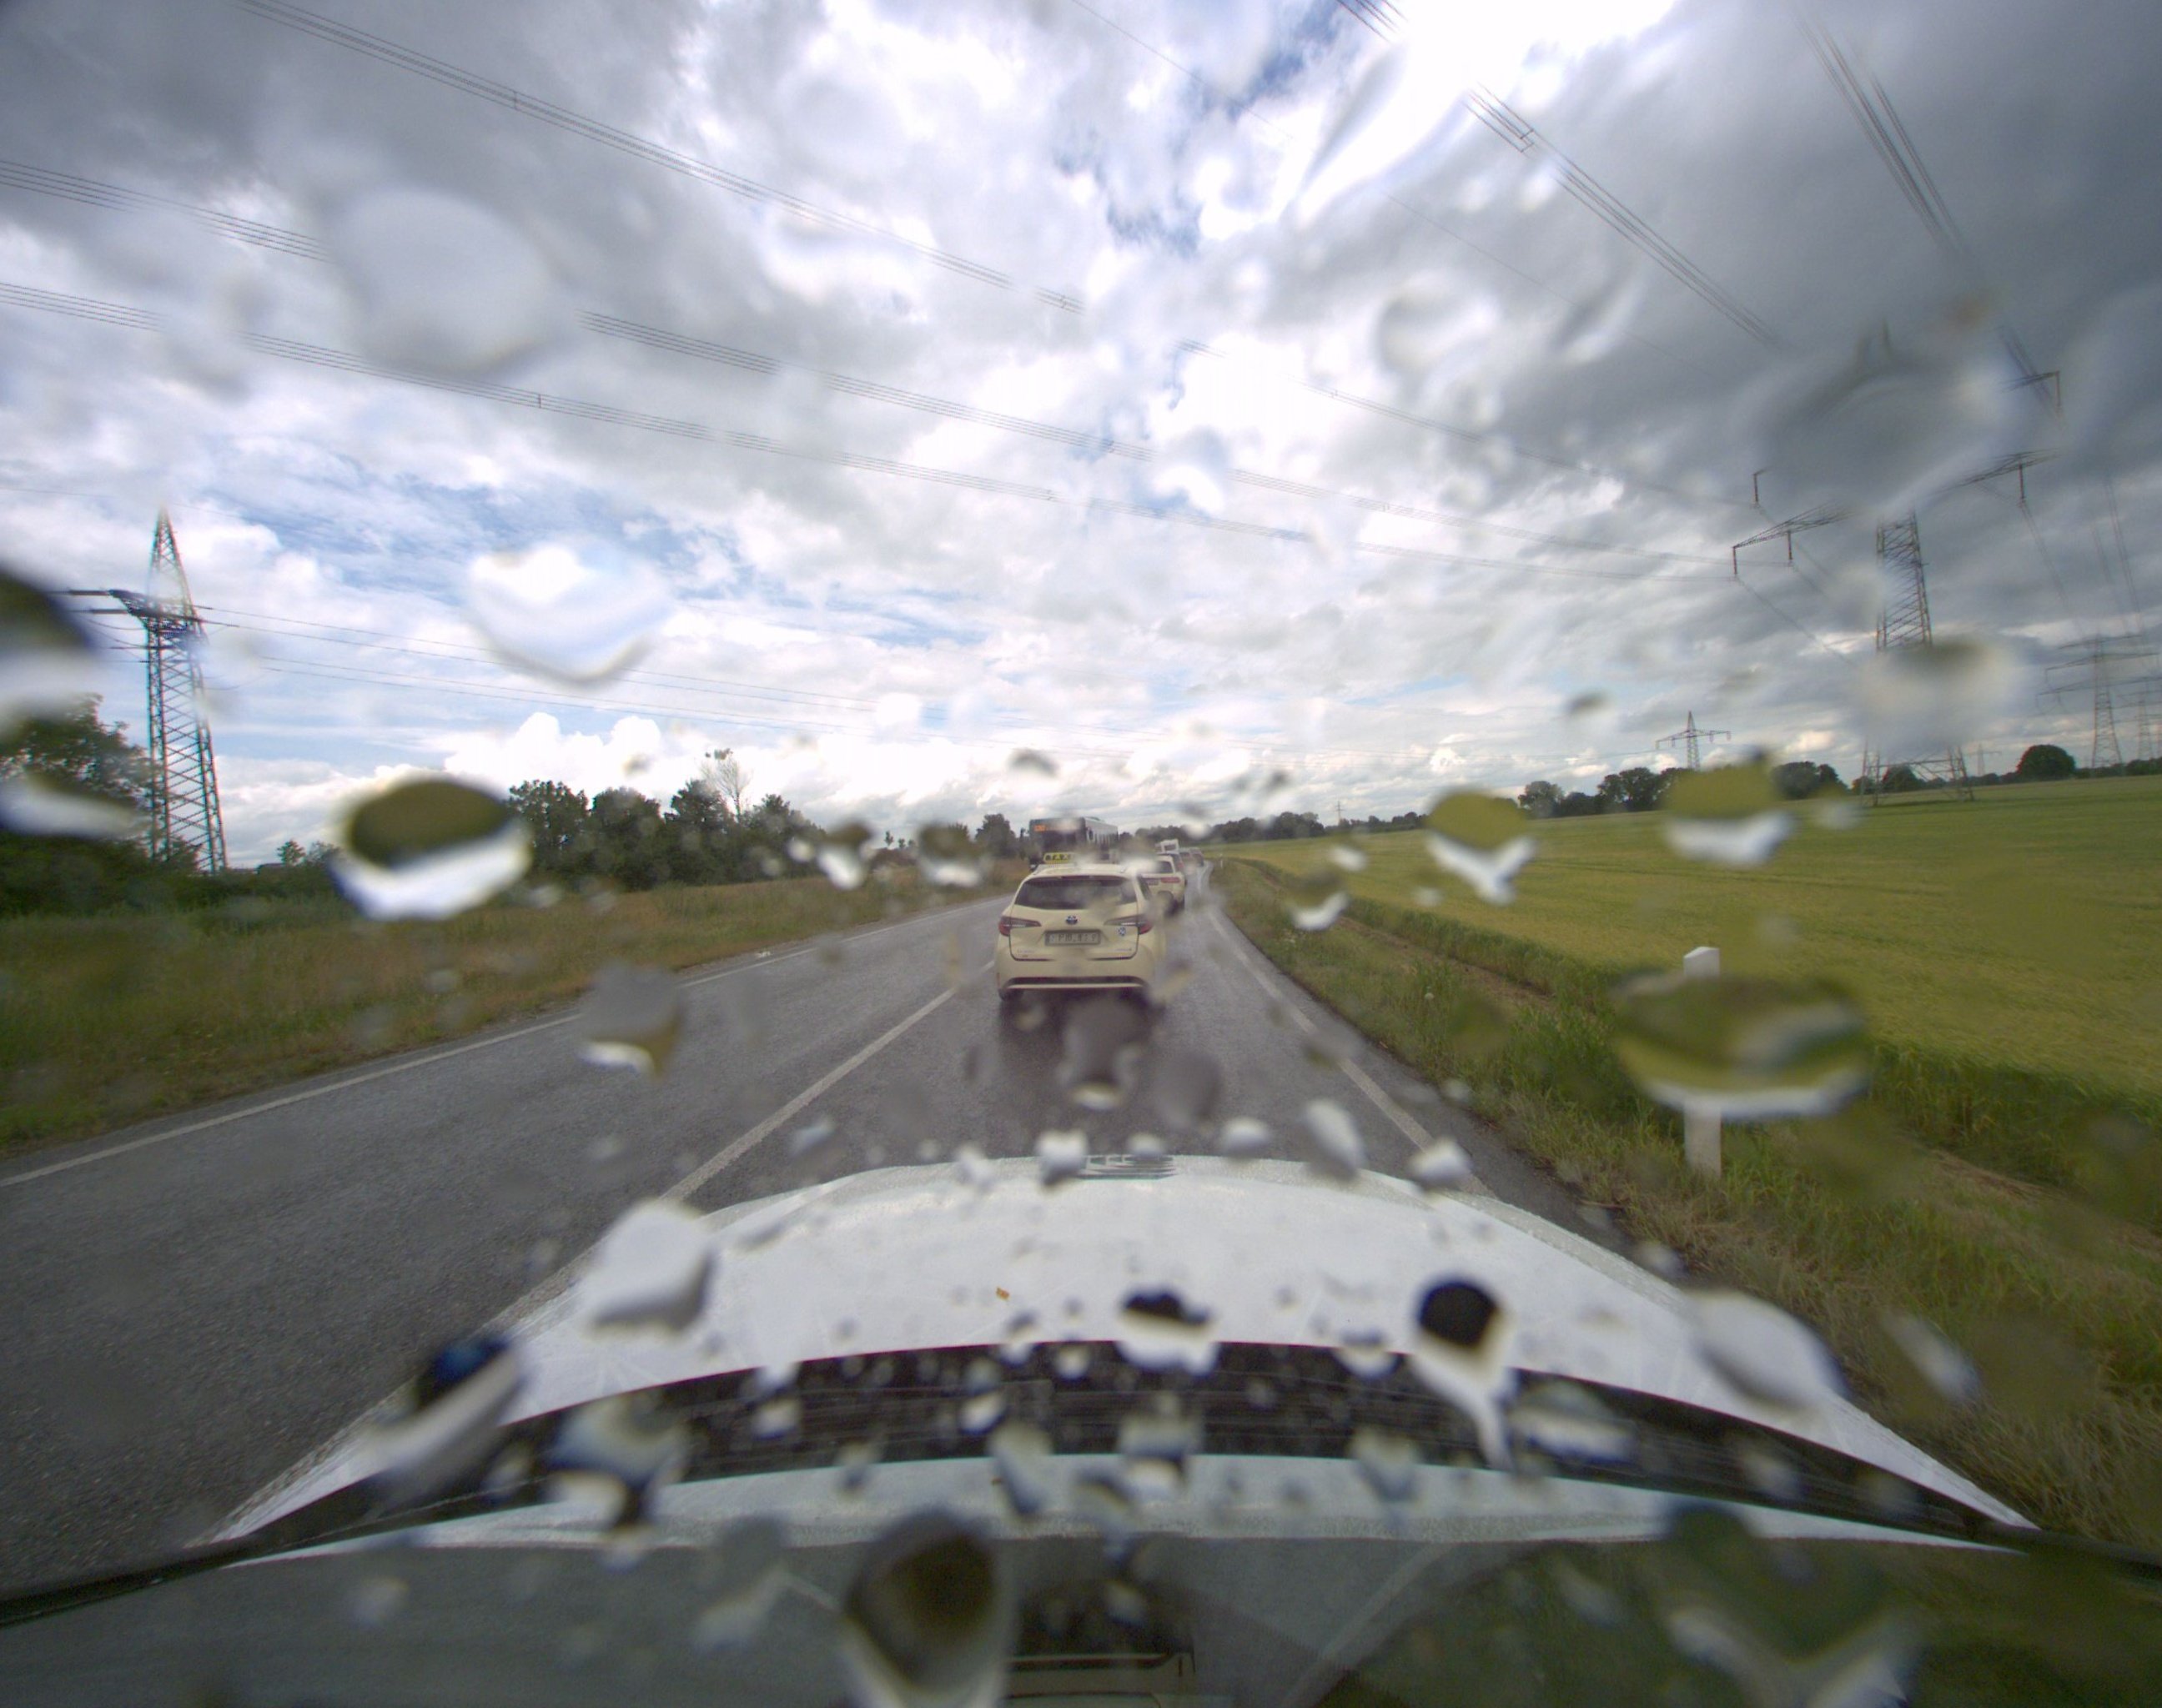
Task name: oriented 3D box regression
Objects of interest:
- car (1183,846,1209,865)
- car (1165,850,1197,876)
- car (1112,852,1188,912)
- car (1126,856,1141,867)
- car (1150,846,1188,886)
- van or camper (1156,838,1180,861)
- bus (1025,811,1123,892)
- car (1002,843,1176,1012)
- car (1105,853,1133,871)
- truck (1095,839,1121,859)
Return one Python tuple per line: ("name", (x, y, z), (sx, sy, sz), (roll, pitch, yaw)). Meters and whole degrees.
("car", (9.271, 0.114, 65.974), (1.949, 1.413, 4.401), (-1, -1, 7))
("car", (5.782, 0.519, 46.899), (1.603, 1.413, 3.748), (-1, -1, 10))
("car", (2.018, 0.699, 22.662), (1.831, 1.492, 4.618), (-1, 0, 8))
("car", (6.984, 0.965, 108.834), (1.838, 1.388, 4.288), (-1, 0, 1))
("car", (4.007, 0.552, 36.977), (1.604, 1.659, 3.745), (-1, -1, 7))
("van or camper", (11.348, -0.552, 106.909), (2.528, 2.896, 6.743), (-1, 0, 1))
("bus", (0.004, -0.126, 39.944), (2.742, 3.298, 12.532), (-1, 0, 9))
("car", (0.207, 0.727, 9.528), (1.605, 1.562, 3.742), (-1, -1, 4))
("car", (2.758, 0.574, 58.339), (1.710, 1.251, 4.006), (-1, -1, 6))
("truck", (4.646, -0.814, 139.998), (3.012, 3.209, 8.208), (-1, -1, -8))
